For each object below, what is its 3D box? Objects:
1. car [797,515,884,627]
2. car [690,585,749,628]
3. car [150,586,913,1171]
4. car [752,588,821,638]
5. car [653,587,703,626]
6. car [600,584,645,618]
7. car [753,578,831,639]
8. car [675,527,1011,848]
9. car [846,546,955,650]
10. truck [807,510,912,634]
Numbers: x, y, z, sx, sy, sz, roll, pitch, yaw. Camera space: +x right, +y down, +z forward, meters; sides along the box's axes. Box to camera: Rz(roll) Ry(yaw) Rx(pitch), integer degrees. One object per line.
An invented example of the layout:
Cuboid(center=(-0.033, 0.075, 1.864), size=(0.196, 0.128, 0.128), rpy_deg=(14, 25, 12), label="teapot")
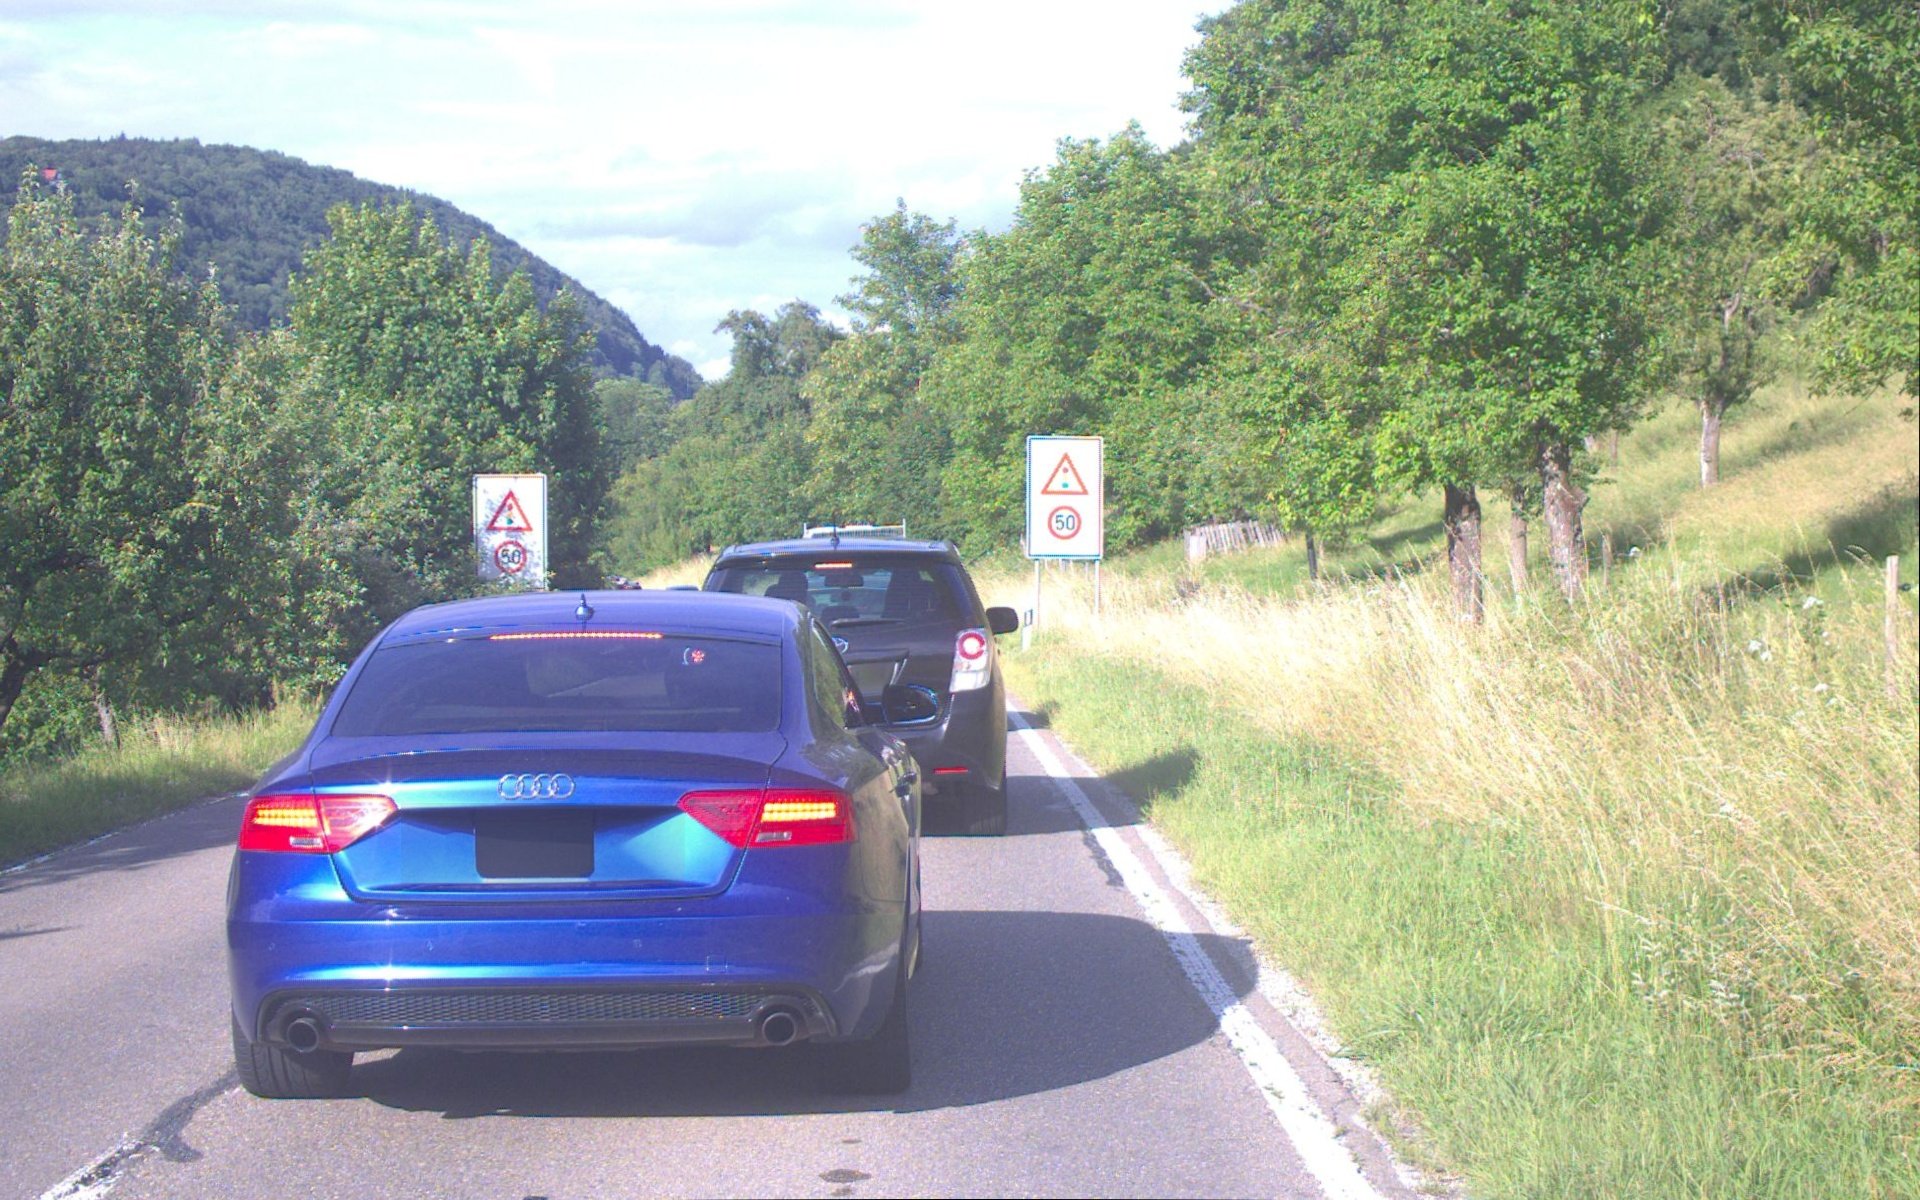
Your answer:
Cuboid(center=(-2.753, -0.677, 78.488), size=(1.792, 2.445, 3.920), rpy_deg=(2, 1, -4), label="car")
Cuboid(center=(-9.045, 0.219, 129.221), size=(1.747, 1.490, 3.779), rpy_deg=(2, 1, -11), label="car")
Cuboid(center=(-1.063, 0.665, 10.411), size=(1.805, 1.377, 4.215), rpy_deg=(-1, 0, 0), label="car")
Cuboid(center=(-5.588, 0.404, 110.269), size=(1.747, 1.490, 3.779), rpy_deg=(2, 1, -9), label="car")
Cuboid(center=(-11.758, 0.254, 142.950), size=(1.558, 1.490, 3.779), rpy_deg=(2, 1, -12), label="car")
Cuboid(center=(-15.779, 0.043, 160.544), size=(1.558, 1.490, 3.779), rpy_deg=(2, 1, -13), label="car")
Cuboid(center=(-4.430, 0.207, 90.211), size=(1.747, 1.490, 3.779), rpy_deg=(2, 1, -7), label="car")
Cuboid(center=(-0.627, 0.414, 19.345), size=(1.692, 1.618, 3.789), rpy_deg=(0, 1, -1), label="car")
Cuboid(center=(-0.970, -0.058, 55.629), size=(1.692, 1.618, 3.789), rpy_deg=(0, 1, -1), label="car")
Cuboid(center=(-2.008, -0.579, 68.856), size=(1.950, 2.337, 5.094), rpy_deg=(2, 1, -2), label="truck")
